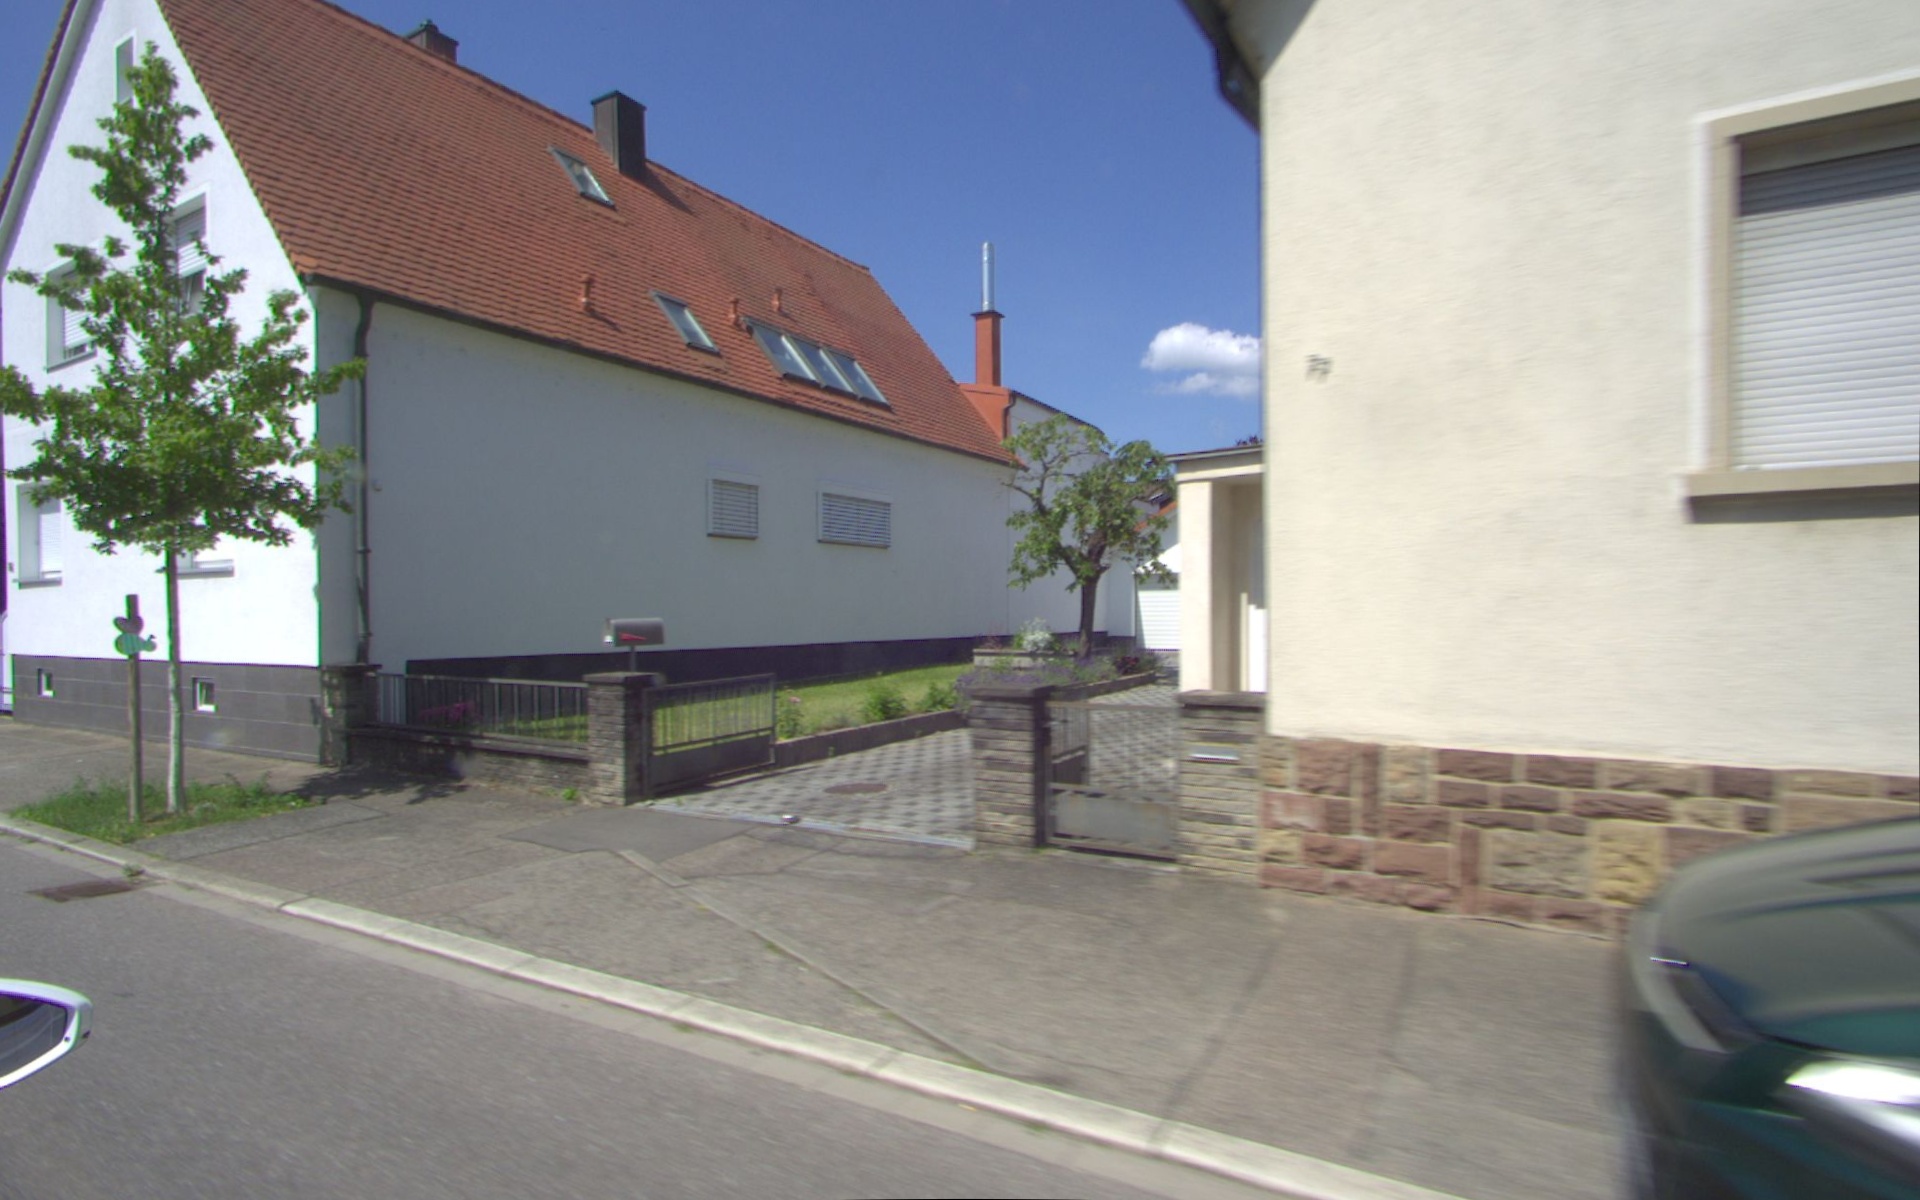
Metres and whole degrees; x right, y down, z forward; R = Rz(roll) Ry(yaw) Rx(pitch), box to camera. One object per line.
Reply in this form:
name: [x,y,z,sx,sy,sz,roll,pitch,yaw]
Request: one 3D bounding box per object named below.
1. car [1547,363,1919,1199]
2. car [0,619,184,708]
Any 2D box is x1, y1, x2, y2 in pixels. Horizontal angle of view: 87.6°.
car: [3.010,0.620,0.910,4.210,1.739,1.727,-1,-1,29]
car: [-16.015,1.053,17.200,1.715,1.433,3.915,0,-1,32]
